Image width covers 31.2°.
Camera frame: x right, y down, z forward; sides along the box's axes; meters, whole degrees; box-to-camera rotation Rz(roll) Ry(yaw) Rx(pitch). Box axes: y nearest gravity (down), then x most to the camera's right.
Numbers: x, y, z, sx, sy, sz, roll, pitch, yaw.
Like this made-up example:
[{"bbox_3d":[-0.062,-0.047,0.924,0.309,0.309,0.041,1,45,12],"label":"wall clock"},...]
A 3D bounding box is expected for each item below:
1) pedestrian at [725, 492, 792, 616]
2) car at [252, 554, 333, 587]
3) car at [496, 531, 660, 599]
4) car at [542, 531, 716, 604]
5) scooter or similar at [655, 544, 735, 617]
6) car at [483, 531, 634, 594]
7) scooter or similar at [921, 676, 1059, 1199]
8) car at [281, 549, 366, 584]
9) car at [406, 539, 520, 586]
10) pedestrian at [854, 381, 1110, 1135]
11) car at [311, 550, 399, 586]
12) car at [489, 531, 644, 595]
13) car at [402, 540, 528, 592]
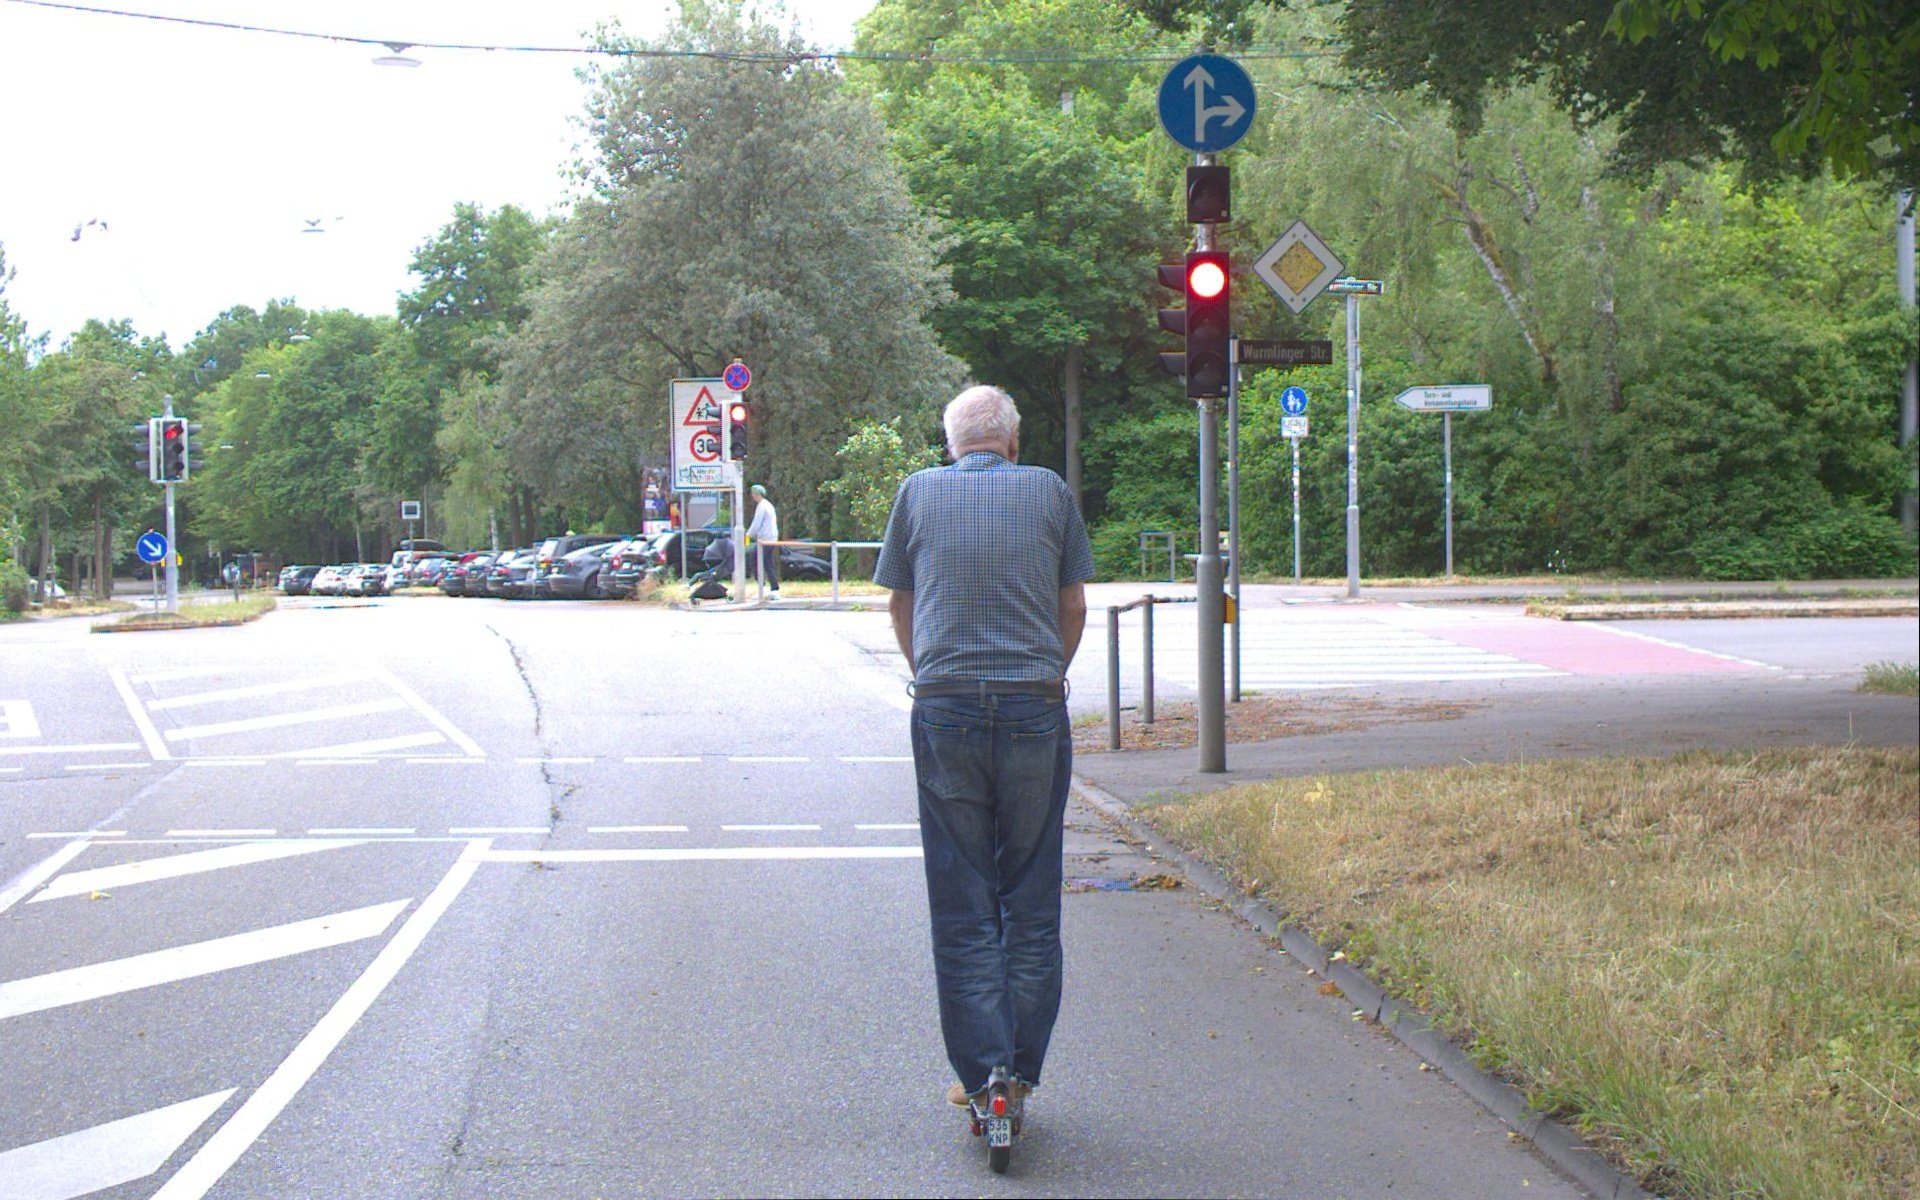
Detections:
[{"bbox_3d":[-3.073,-0.700,52.328,0.883,1.856,0.574,-2,1,-14],"label":"pedestrian"},{"bbox_3d":[-35.514,-1.569,182.905,3.841,1.605,1.728,-3,2,-24],"label":"car"},{"bbox_3d":[-9.936,-0.914,89.347,3.841,1.605,1.728,-3,2,-24],"label":"car"},{"bbox_3d":[-8.168,-0.812,84.810,3.841,1.605,1.728,-3,2,-25],"label":"car"},{"bbox_3d":[-4.017,-0.297,52.110,1.107,1.077,0.578,-2,1,-14],"label":"scooter or similar"},{"bbox_3d":[-11.340,-1.055,97.043,3.841,1.605,1.728,-3,2,-24],"label":"car"},{"bbox_3d":[0.085,0.802,8.300,0.282,1.174,1.177,-1,1,2],"label":"scooter or similar"},{"bbox_3d":[-32.108,-1.679,173.369,3.841,1.605,1.728,-3,2,-24],"label":"car"},{"bbox_3d":[-18.749,-1.406,129.714,3.841,1.605,1.728,-3,2,-24],"label":"car"},{"bbox_3d":[0.053,0.378,8.505,0.572,1.807,0.420,-1,1,0],"label":"pedestrian"},{"bbox_3d":[-29.276,-1.555,166.366,3.841,1.605,1.728,-3,2,-24],"label":"car"},{"bbox_3d":[-10.845,-1.022,94.641,3.841,1.605,1.728,-3,2,-24],"label":"car"},{"bbox_3d":[-16.805,-1.155,116.787,3.841,1.605,1.728,-3,2,-24],"label":"car"}]
